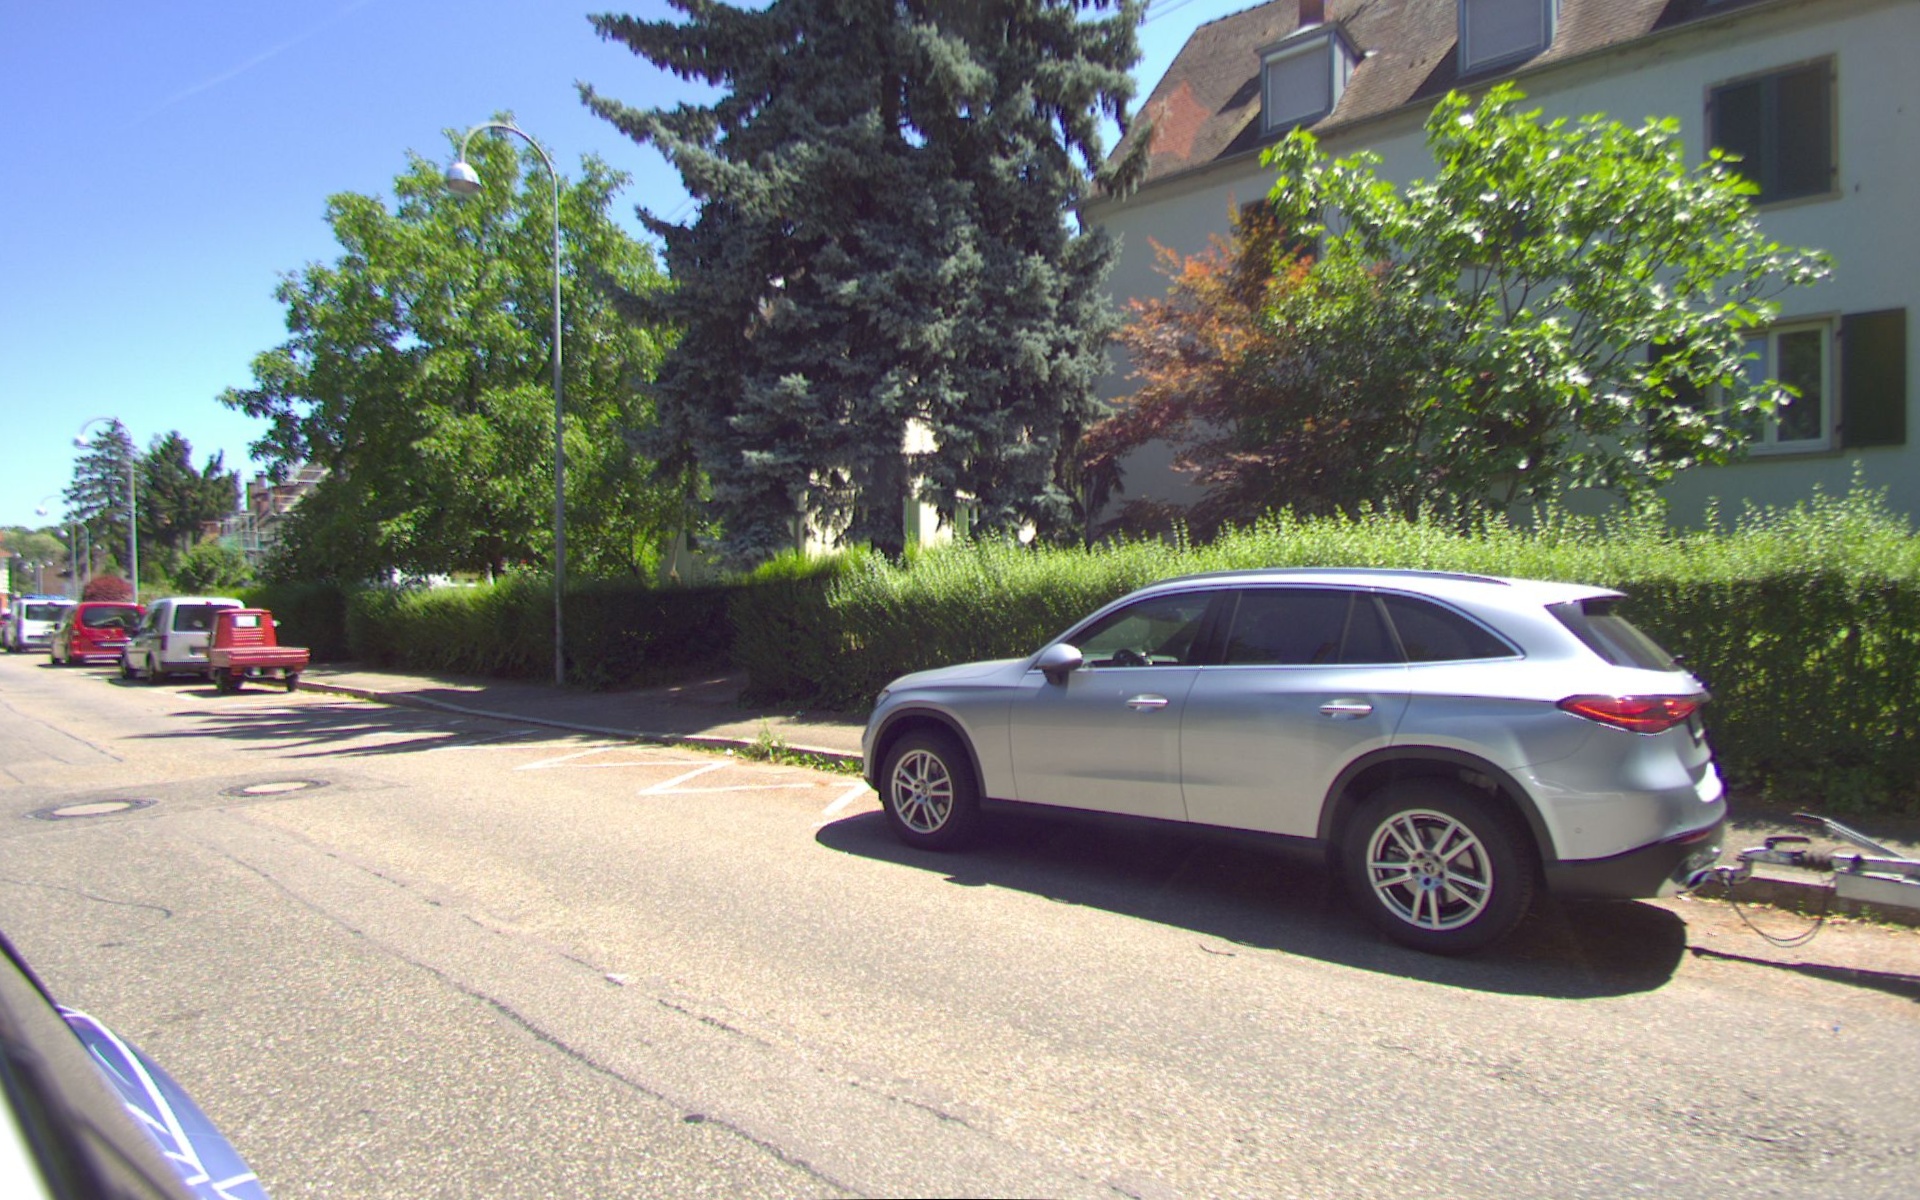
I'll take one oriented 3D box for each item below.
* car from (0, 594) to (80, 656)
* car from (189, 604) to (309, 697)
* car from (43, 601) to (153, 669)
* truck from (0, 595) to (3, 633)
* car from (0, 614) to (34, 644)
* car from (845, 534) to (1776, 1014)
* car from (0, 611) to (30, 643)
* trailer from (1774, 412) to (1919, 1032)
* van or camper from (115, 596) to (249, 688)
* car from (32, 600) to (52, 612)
[{"bbox_3d":[-33.902,0.913,37.174,3.998,2.131,1.868,-1,-3,42],"label":"car"},{"bbox_3d":[-13.064,0.894,18.576,2.320,1.589,1.291,-1,-2,42],"label":"car"},{"bbox_3d":[-24.094,0.961,28.263,3.612,1.772,1.868,-1,-3,42],"label":"car"},{"bbox_3d":[-75.638,1.066,78.152,2.194,2.954,6.732,3,-2,-41],"label":"truck"},{"bbox_3d":[-53.741,1.620,57.082,3.998,1.650,1.868,-1,-3,42],"label":"car"},{"bbox_3d":[1.577,0.642,5.599,4.545,1.631,1.750,-1,-2,40],"label":"car"},{"bbox_3d":[-57.229,1.593,60.683,4.000,1.837,1.867,-1,-3,44],"label":"car"},{"bbox_3d":[4.996,0.406,3.001,3.996,2.049,1.796,-1,-3,40],"label":"trailer"},{"bbox_3d":[-16.666,0.851,21.612,3.887,1.784,1.563,-1,-2,42],"label":"van or camper"},{"bbox_3d":[-138.947,0.929,153.234,1.864,1.749,4.007,2,-2,-38],"label":"car"}]
